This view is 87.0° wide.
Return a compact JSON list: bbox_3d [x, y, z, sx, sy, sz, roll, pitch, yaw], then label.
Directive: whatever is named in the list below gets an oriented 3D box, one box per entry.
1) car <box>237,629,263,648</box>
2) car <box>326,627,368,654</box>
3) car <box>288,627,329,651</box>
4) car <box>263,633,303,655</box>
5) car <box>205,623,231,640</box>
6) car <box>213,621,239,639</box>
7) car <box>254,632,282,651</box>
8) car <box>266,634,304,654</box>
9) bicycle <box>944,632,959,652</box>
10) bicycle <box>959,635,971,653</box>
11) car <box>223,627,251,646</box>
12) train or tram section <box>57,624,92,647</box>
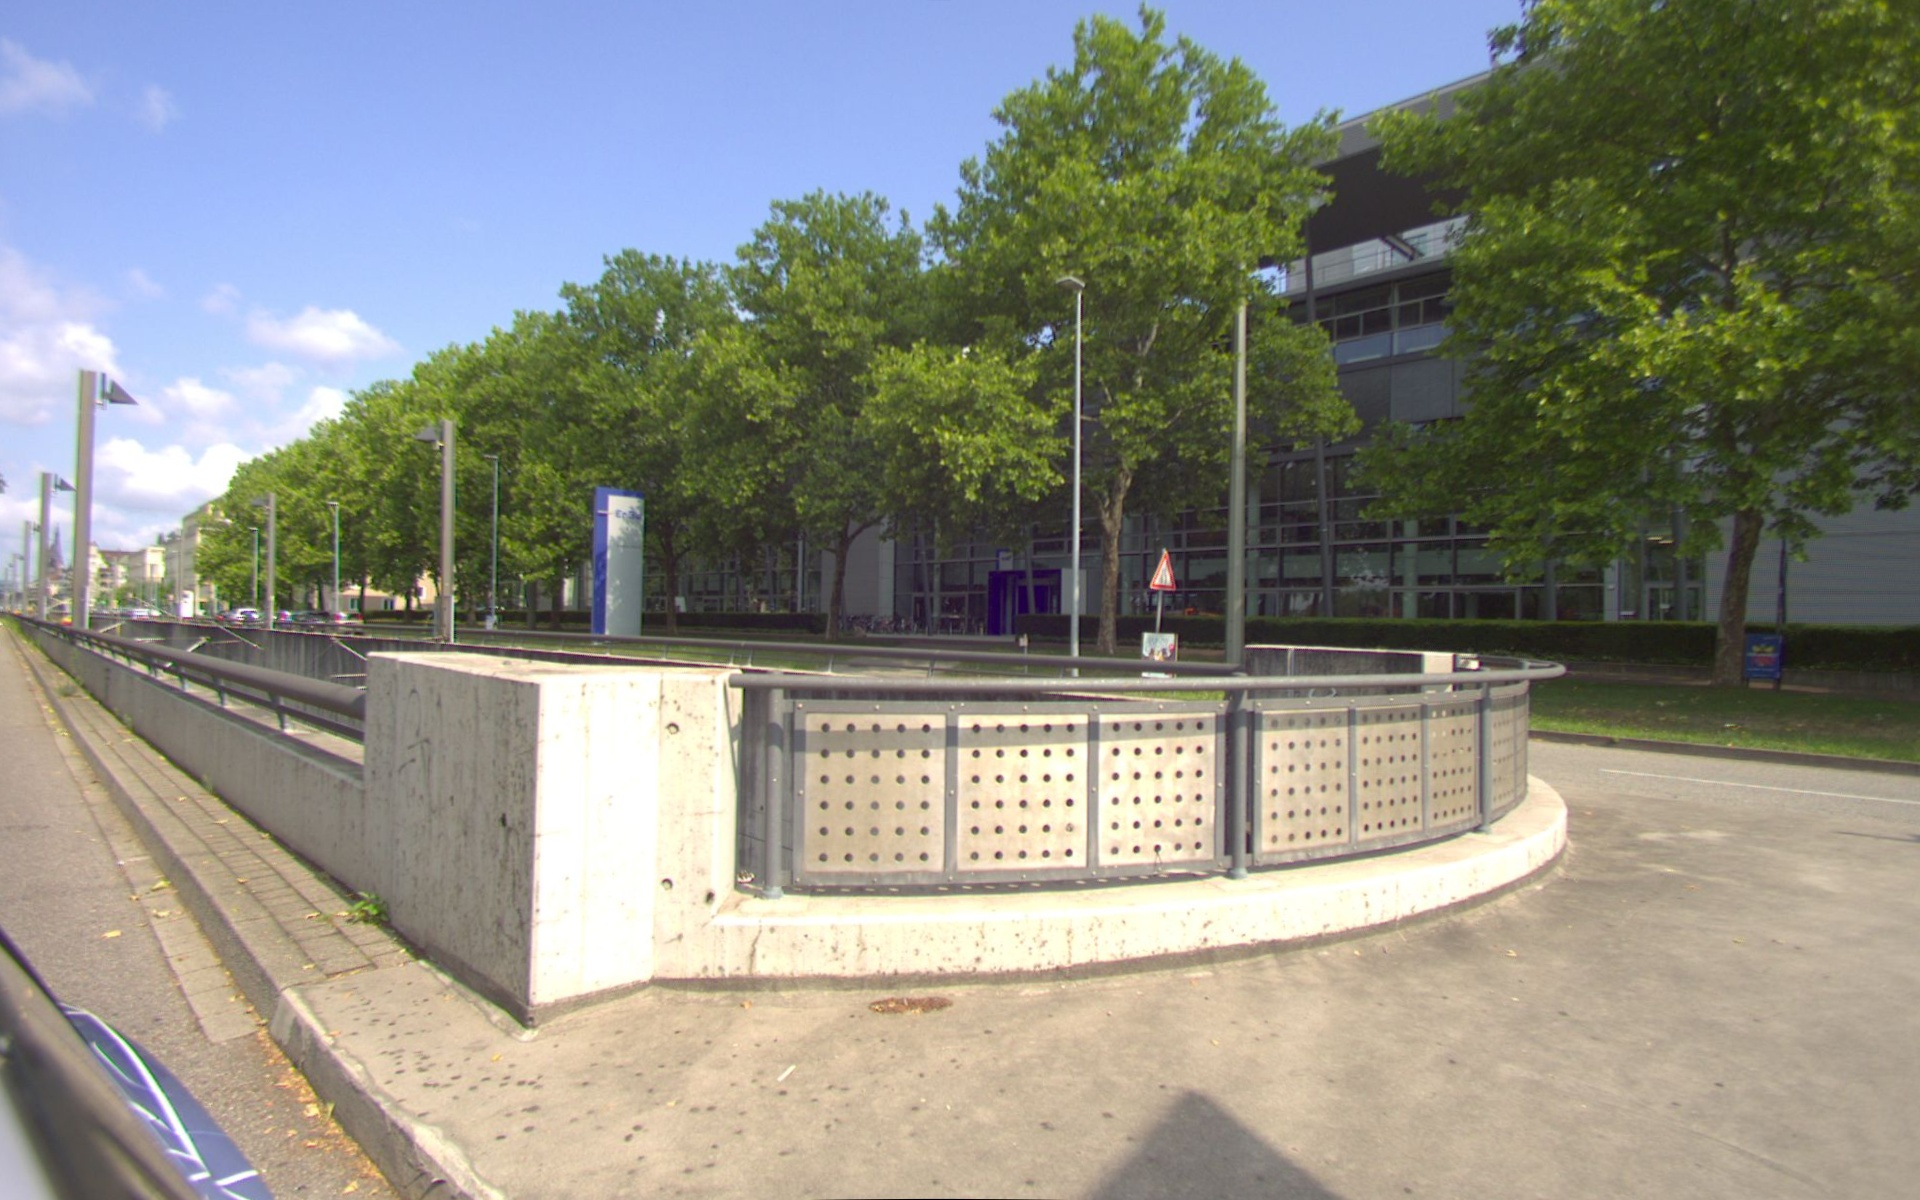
[{"bbox_3d":[-52.592,2.853,74.953,1.151,1.387,2.748,3,-2,-44],"label":"car"},{"bbox_3d":[-35.717,2.342,58.935,1.400,1.467,3.159,3,-2,-44],"label":"car"},{"bbox_3d":[-40.976,2.452,63.613,1.560,1.445,3.159,3,-2,-44],"label":"car"},{"bbox_3d":[-45.843,2.970,68.526,1.557,1.387,3.899,3,-2,-44],"label":"car"},{"bbox_3d":[-63.016,2.691,85.923,1.290,1.387,3.187,3,-2,-44],"label":"car"},{"bbox_3d":[-59.802,2.443,82.456,1.290,1.387,3.187,3,-2,-44],"label":"car"},{"bbox_3d":[-48.727,2.884,71.241,1.164,1.252,2.551,1,-1,-44],"label":"car"},{"bbox_3d":[-45.395,2.941,68.038,1.588,1.215,3.130,3,-2,-45],"label":"car"},{"bbox_3d":[-0.509,2.485,60.131,0.803,1.186,2.336,0,-1,2],"label":"bicycle"},{"bbox_3d":[0.306,2.584,59.960,0.587,1.031,2.336,0,-1,2],"label":"bicycle"},{"bbox_3d":[-56.202,2.823,78.658,1.290,1.387,3.187,3,-2,-44],"label":"car"},{"bbox_3d":[-100.817,3.995,115.213,6.246,2.477,2.187,-1,0,41],"label":"train or tram section"}]
